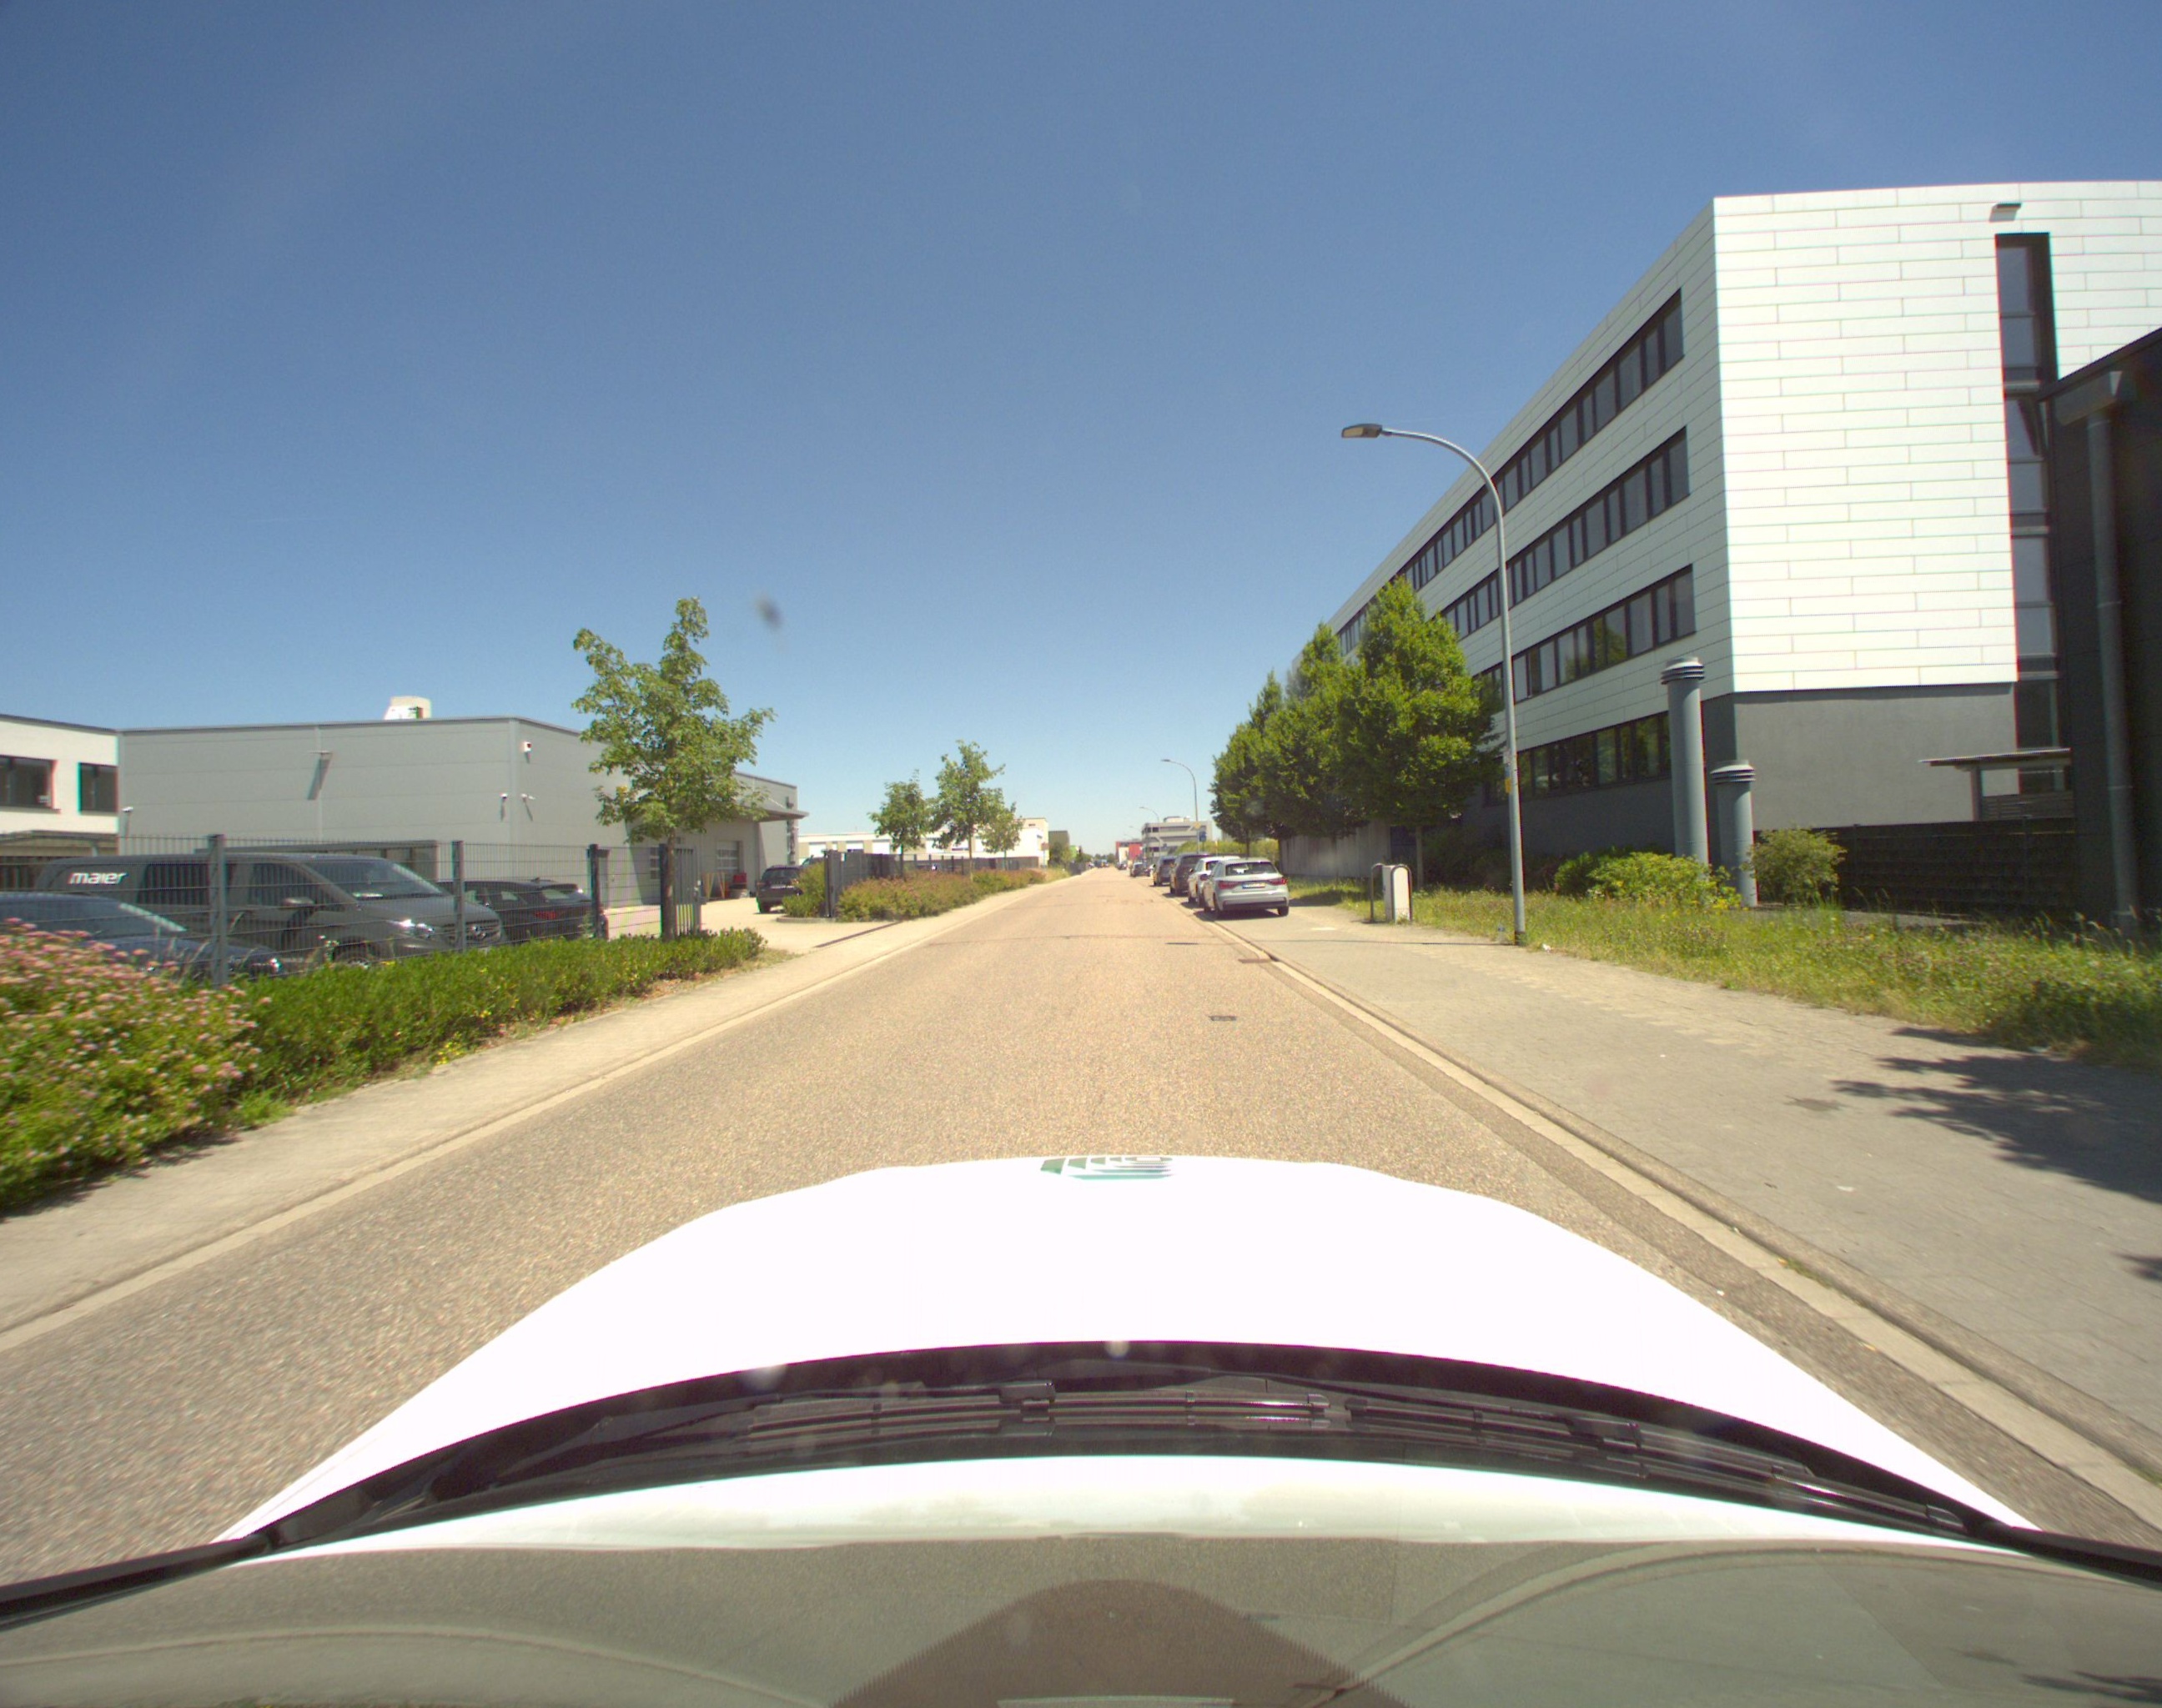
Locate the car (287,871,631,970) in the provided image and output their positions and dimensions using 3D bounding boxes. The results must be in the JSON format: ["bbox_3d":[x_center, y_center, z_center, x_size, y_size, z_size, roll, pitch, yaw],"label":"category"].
[{"bbox_3d":[-10.346,1.071,13.803,4.289,1.446,1.964,-1,-1,1],"label":"car"}]

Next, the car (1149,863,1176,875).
[{"bbox_3d":[14.282,2.638,142.254,4.603,2.014,2.610,0,-1,5],"label":"car"}]

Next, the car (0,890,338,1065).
[{"bbox_3d":[-10.645,1.206,8.410,4.178,1.498,1.905,-1,-1,1],"label":"car"}]

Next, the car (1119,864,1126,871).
[{"bbox_3d":[9.990,3.235,195.678,1.769,1.728,4.002,0,-1,2],"label":"car"}]

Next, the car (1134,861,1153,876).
[{"bbox_3d":[6.526,1.497,84.849,1.899,1.448,4.005,-4,-1,4],"label":"car"}]

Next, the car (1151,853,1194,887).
[{"bbox_3d":[5.021,0.856,45.289,1.797,1.662,4.608,-4,-1,1],"label":"car"}]

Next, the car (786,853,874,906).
[{"bbox_3d":[-10.455,1.029,34.343,1.992,2.099,4.698,0,-1,3],"label":"car"}]

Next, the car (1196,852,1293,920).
[{"bbox_3d":[4.029,0.753,20.647,1.709,1.423,3.953,-4,-1,2],"label":"car"}]

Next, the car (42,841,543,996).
[{"bbox_3d":[-10.676,0.832,11.330,5.041,1.851,1.964,-1,-1,1],"label":"car"}]

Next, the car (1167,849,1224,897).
[{"bbox_3d":[4.475,0.714,32.477,1.751,1.663,4.365,-4,-1,2],"label":"car"}]

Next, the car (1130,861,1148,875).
[{"bbox_3d":[6.677,1.593,93.768,1.899,1.546,4.005,-4,-1,4],"label":"car"}]

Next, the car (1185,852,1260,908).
[{"bbox_3d":[4.288,0.752,25.227,1.709,1.481,4.033,-4,-1,2],"label":"car"}]

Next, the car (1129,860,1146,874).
[{"bbox_3d":[6.996,1.638,100.186,1.899,1.546,4.005,-4,-1,4],"label":"car"}]
